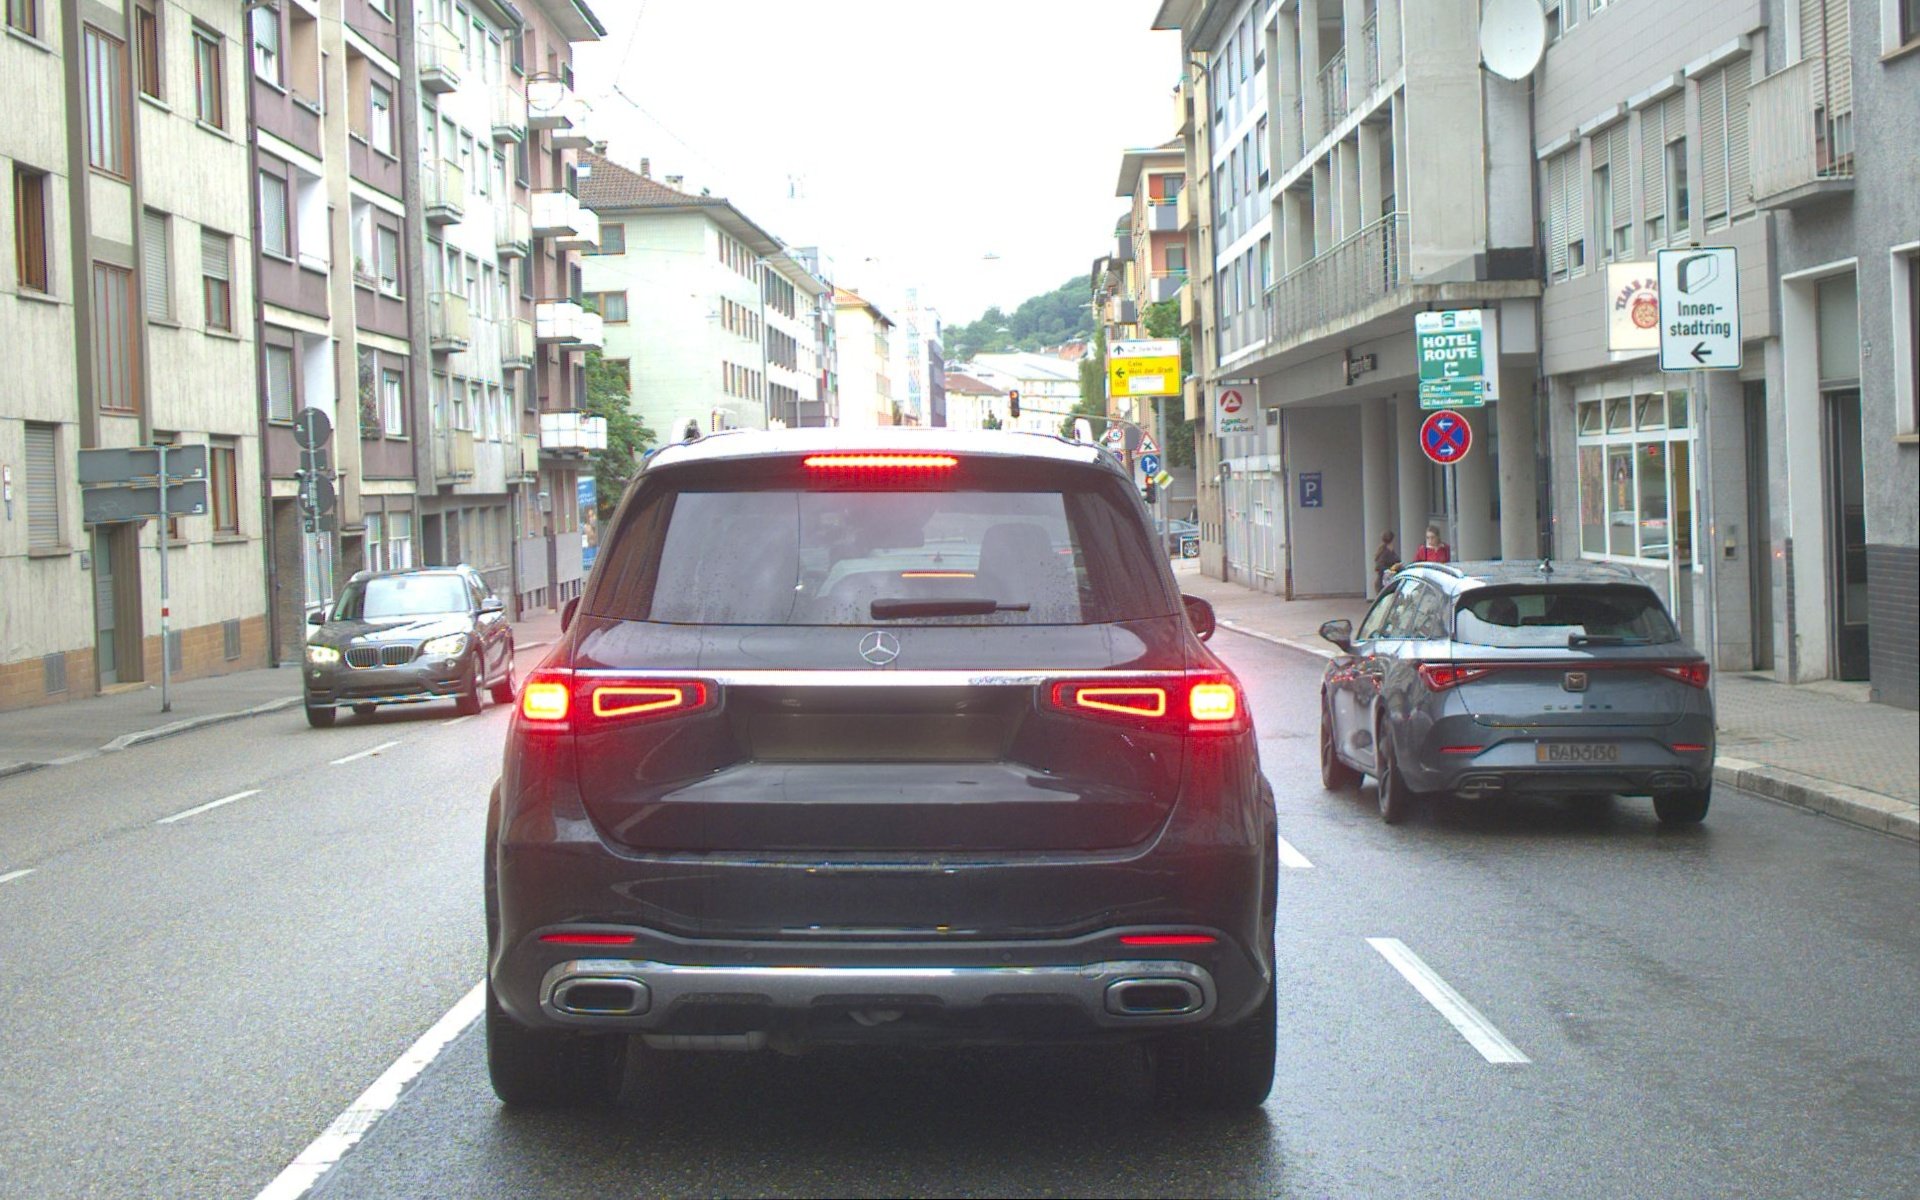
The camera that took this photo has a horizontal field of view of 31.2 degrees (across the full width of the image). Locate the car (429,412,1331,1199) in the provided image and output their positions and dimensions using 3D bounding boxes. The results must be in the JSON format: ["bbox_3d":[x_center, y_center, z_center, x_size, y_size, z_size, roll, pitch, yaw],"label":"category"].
[{"bbox_3d":[-0.220,0.454,9.839,2.025,1.799,4.000,1,1,-1],"label":"car"}]

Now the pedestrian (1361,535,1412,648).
[{"bbox_3d":[5.780,-0.123,46.618,0.506,1.495,0.562,-4,1,-1],"label":"pedestrian"}]

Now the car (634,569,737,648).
[{"bbox_3d":[-6.102,0.162,76.919,1.797,1.579,4.316,-3,1,1],"label":"car"}]

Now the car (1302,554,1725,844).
[{"bbox_3d":[3.028,0.475,19.633,1.621,1.425,4.312,1,1,-1],"label":"car"}]

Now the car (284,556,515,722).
[{"bbox_3d":[-5.774,0.357,35.844,1.703,1.502,4.160,-4,1,-1],"label":"car"}]

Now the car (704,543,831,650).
[{"bbox_3d":[-3.451,-0.096,62.287,1.836,1.721,4.474,-4,1,1],"label":"car"}]

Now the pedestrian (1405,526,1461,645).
[{"bbox_3d":[6.417,-0.198,46.645,0.560,1.573,0.526,-4,1,-2],"label":"pedestrian"}]
